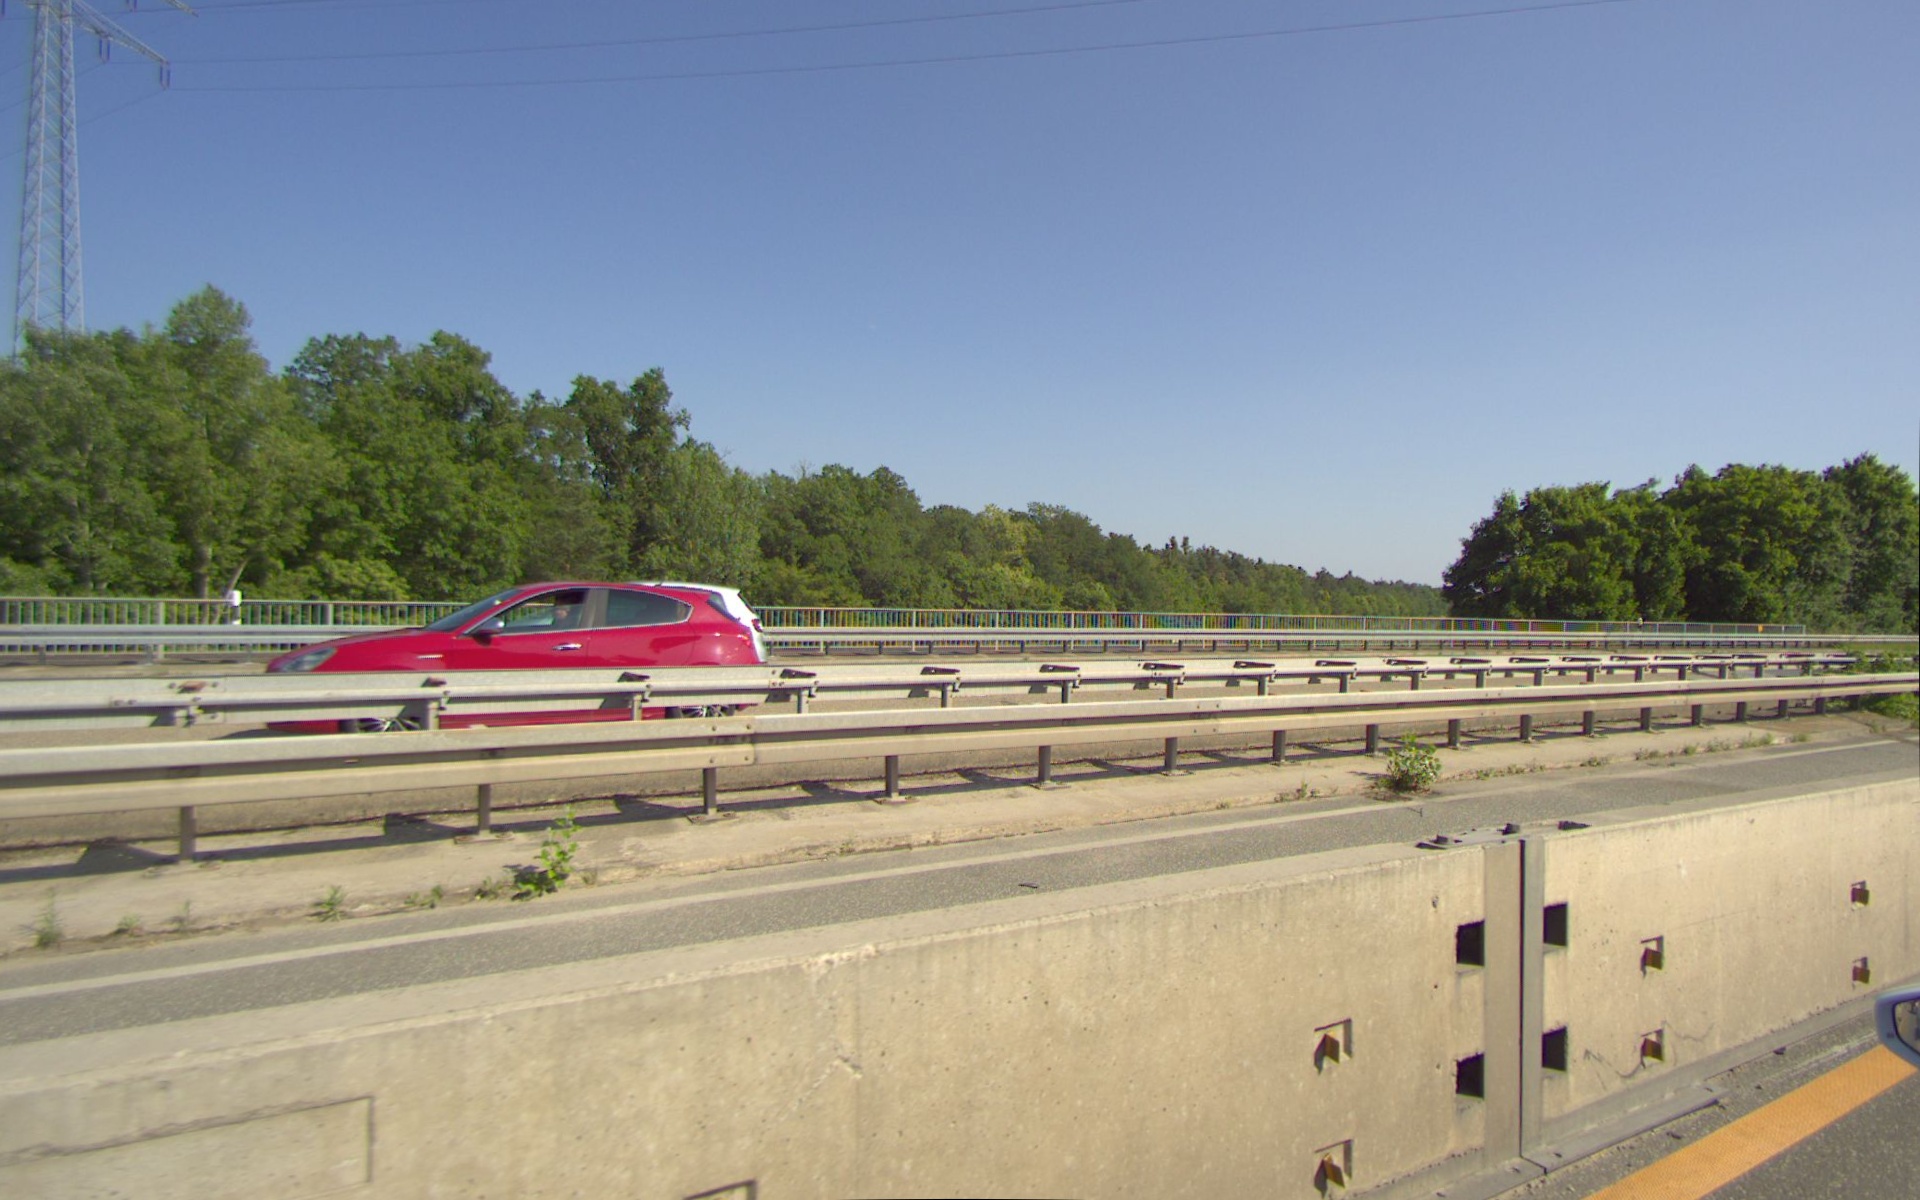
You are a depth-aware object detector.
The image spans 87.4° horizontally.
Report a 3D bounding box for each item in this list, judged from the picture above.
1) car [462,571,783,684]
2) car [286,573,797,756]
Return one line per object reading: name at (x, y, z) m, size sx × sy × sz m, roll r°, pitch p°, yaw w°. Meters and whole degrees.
car at (-4.782, 0.399, 14.375) m, size 4.078 × 1.411 × 1.768 m, roll 1°, pitch -1°, yaw -31°
car at (-3.838, 0.531, 9.571) m, size 4.173 × 1.415 × 1.705 m, roll 1°, pitch 0°, yaw -31°
